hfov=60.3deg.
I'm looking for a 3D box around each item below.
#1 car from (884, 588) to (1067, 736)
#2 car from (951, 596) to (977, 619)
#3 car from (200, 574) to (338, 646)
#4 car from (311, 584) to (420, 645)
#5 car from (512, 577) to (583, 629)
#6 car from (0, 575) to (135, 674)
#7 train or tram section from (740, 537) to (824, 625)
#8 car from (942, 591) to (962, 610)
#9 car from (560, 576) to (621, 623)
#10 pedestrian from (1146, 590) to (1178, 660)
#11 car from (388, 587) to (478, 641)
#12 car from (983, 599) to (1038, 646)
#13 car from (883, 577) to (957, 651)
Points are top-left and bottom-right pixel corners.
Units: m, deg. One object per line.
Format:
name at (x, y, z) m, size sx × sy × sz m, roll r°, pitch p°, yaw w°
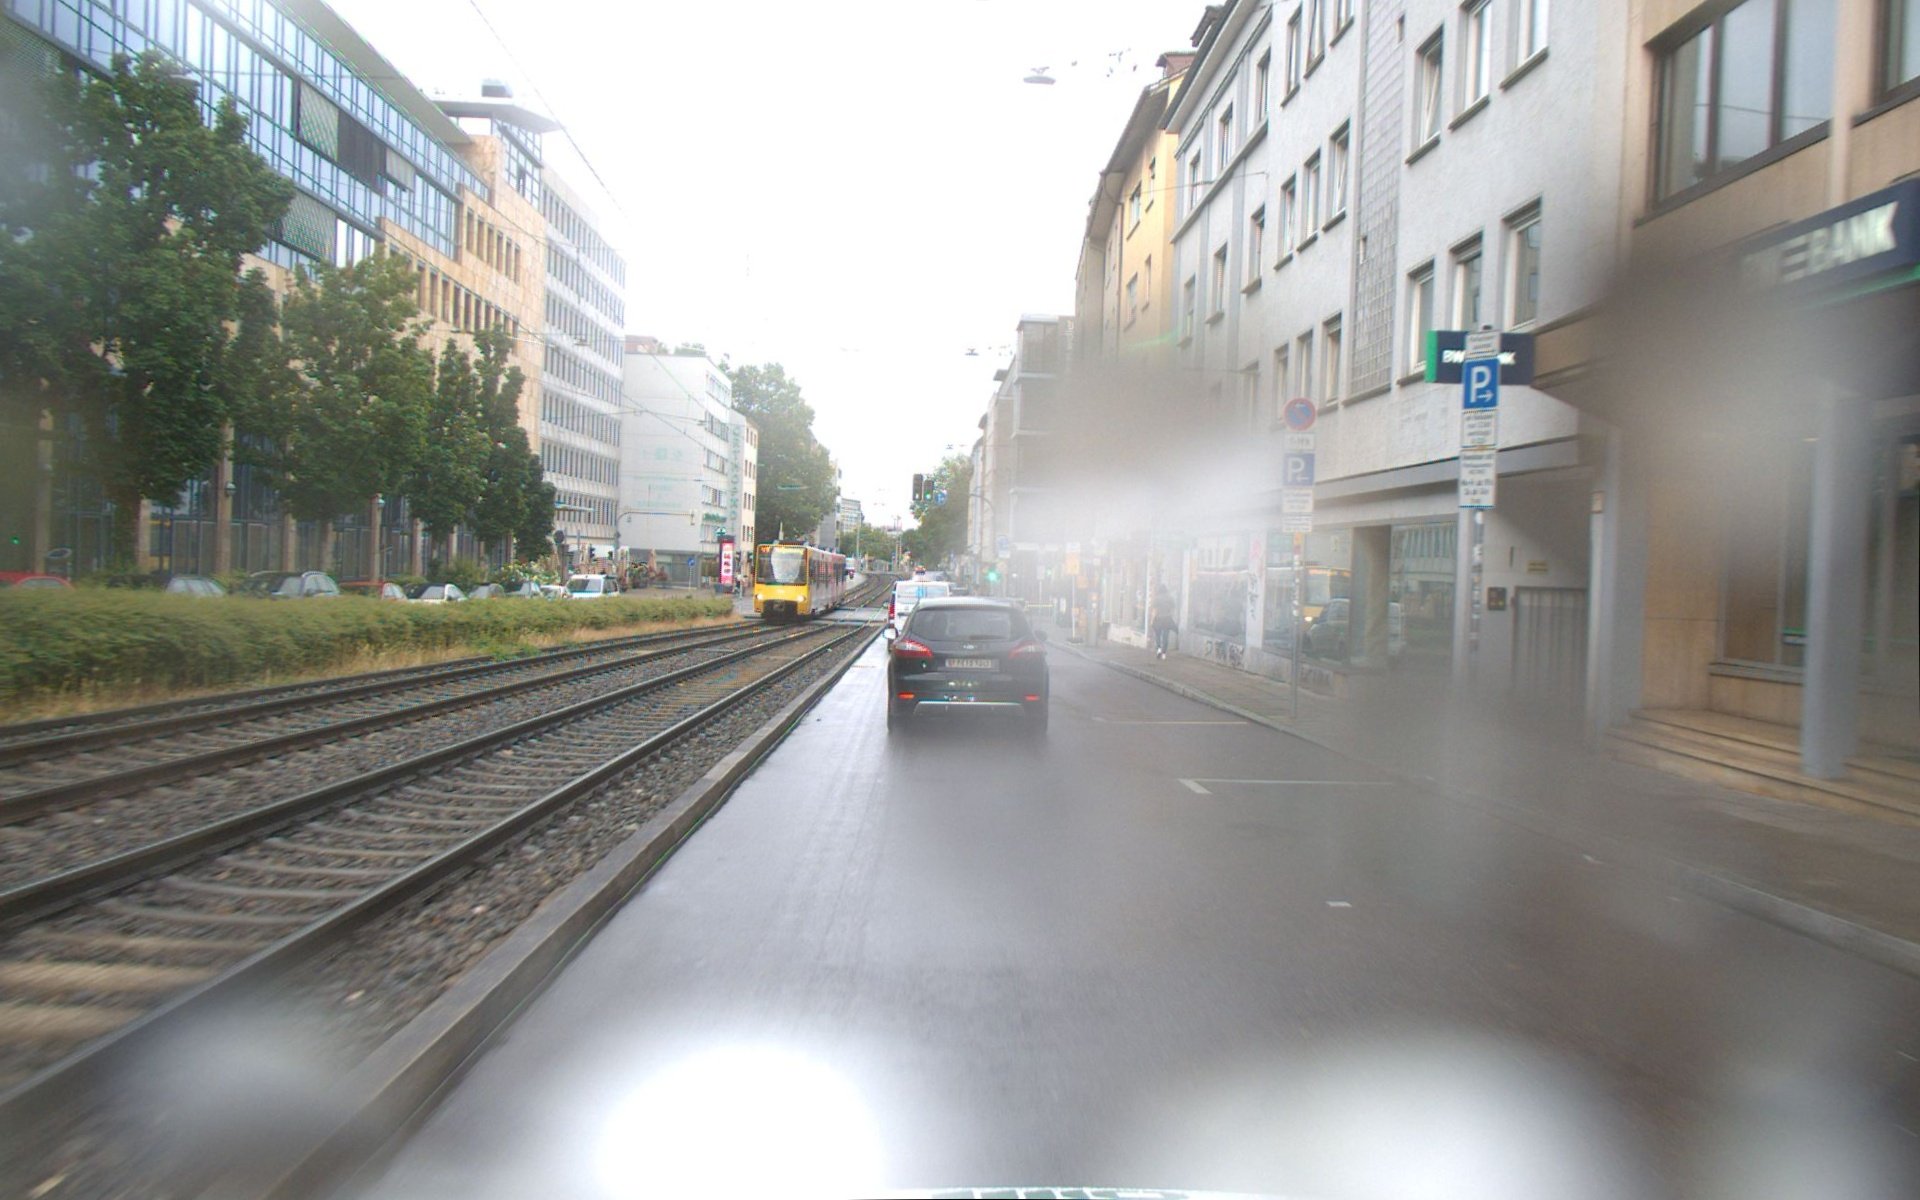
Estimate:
car at (0.134, 0.669, 18.941) m, size 1.868 × 1.488 × 3.444 m, roll 2°, pitch -1°, yaw -1°
car at (0.315, 0.570, 124.377) m, size 1.868 × 1.662 × 4.573 m, roll 2°, pitch -1°, yaw 0°
car at (-15.100, 0.205, 36.362) m, size 1.537 × 1.461 × 4.174 m, roll 1°, pitch 0°, yaw -4°
car at (-15.199, 0.354, 42.467) m, size 1.537 × 1.461 × 4.174 m, roll 1°, pitch 0°, yaw -4°
car at (-16.006, 0.141, 64.369) m, size 1.869 × 1.897 × 4.569 m, roll 2°, pitch -1°, yaw -4°
car at (-14.859, 0.343, 26.373) m, size 1.537 × 1.461 × 4.174 m, roll 1°, pitch 0°, yaw -4°
train or tram section at (-8.376, -0.850, 79.184) m, size 3.444 × 3.843 × 11.322 m, roll 1°, pitch 0°, yaw -4°
car at (-0.768, 0.076, 156.054) m, size 1.868 × 1.662 × 4.573 m, roll 2°, pitch -1°, yaw 0°
car at (-15.866, -0.003, 71.199) m, size 1.869 × 1.897 × 4.569 m, roll 2°, pitch -1°, yaw -4°
pedestrian at (4.557, 0.563, 37.347) m, size 0.599 × 1.564 × 0.648 m, roll 1°, pitch 0°, yaw -2°
car at (-15.254, 0.386, 48.057) m, size 1.537 × 1.461 × 4.174 m, roll 1°, pitch 0°, yaw -4°
car at (1.858, 0.842, 62.421) m, size 1.868 × 1.662 × 4.573 m, roll 2°, pitch -1°, yaw 0°
car at (-1.055, 0.403, 45.773) m, size 1.867 × 1.897 × 4.573 m, roll 2°, pitch -1°, yaw 0°
